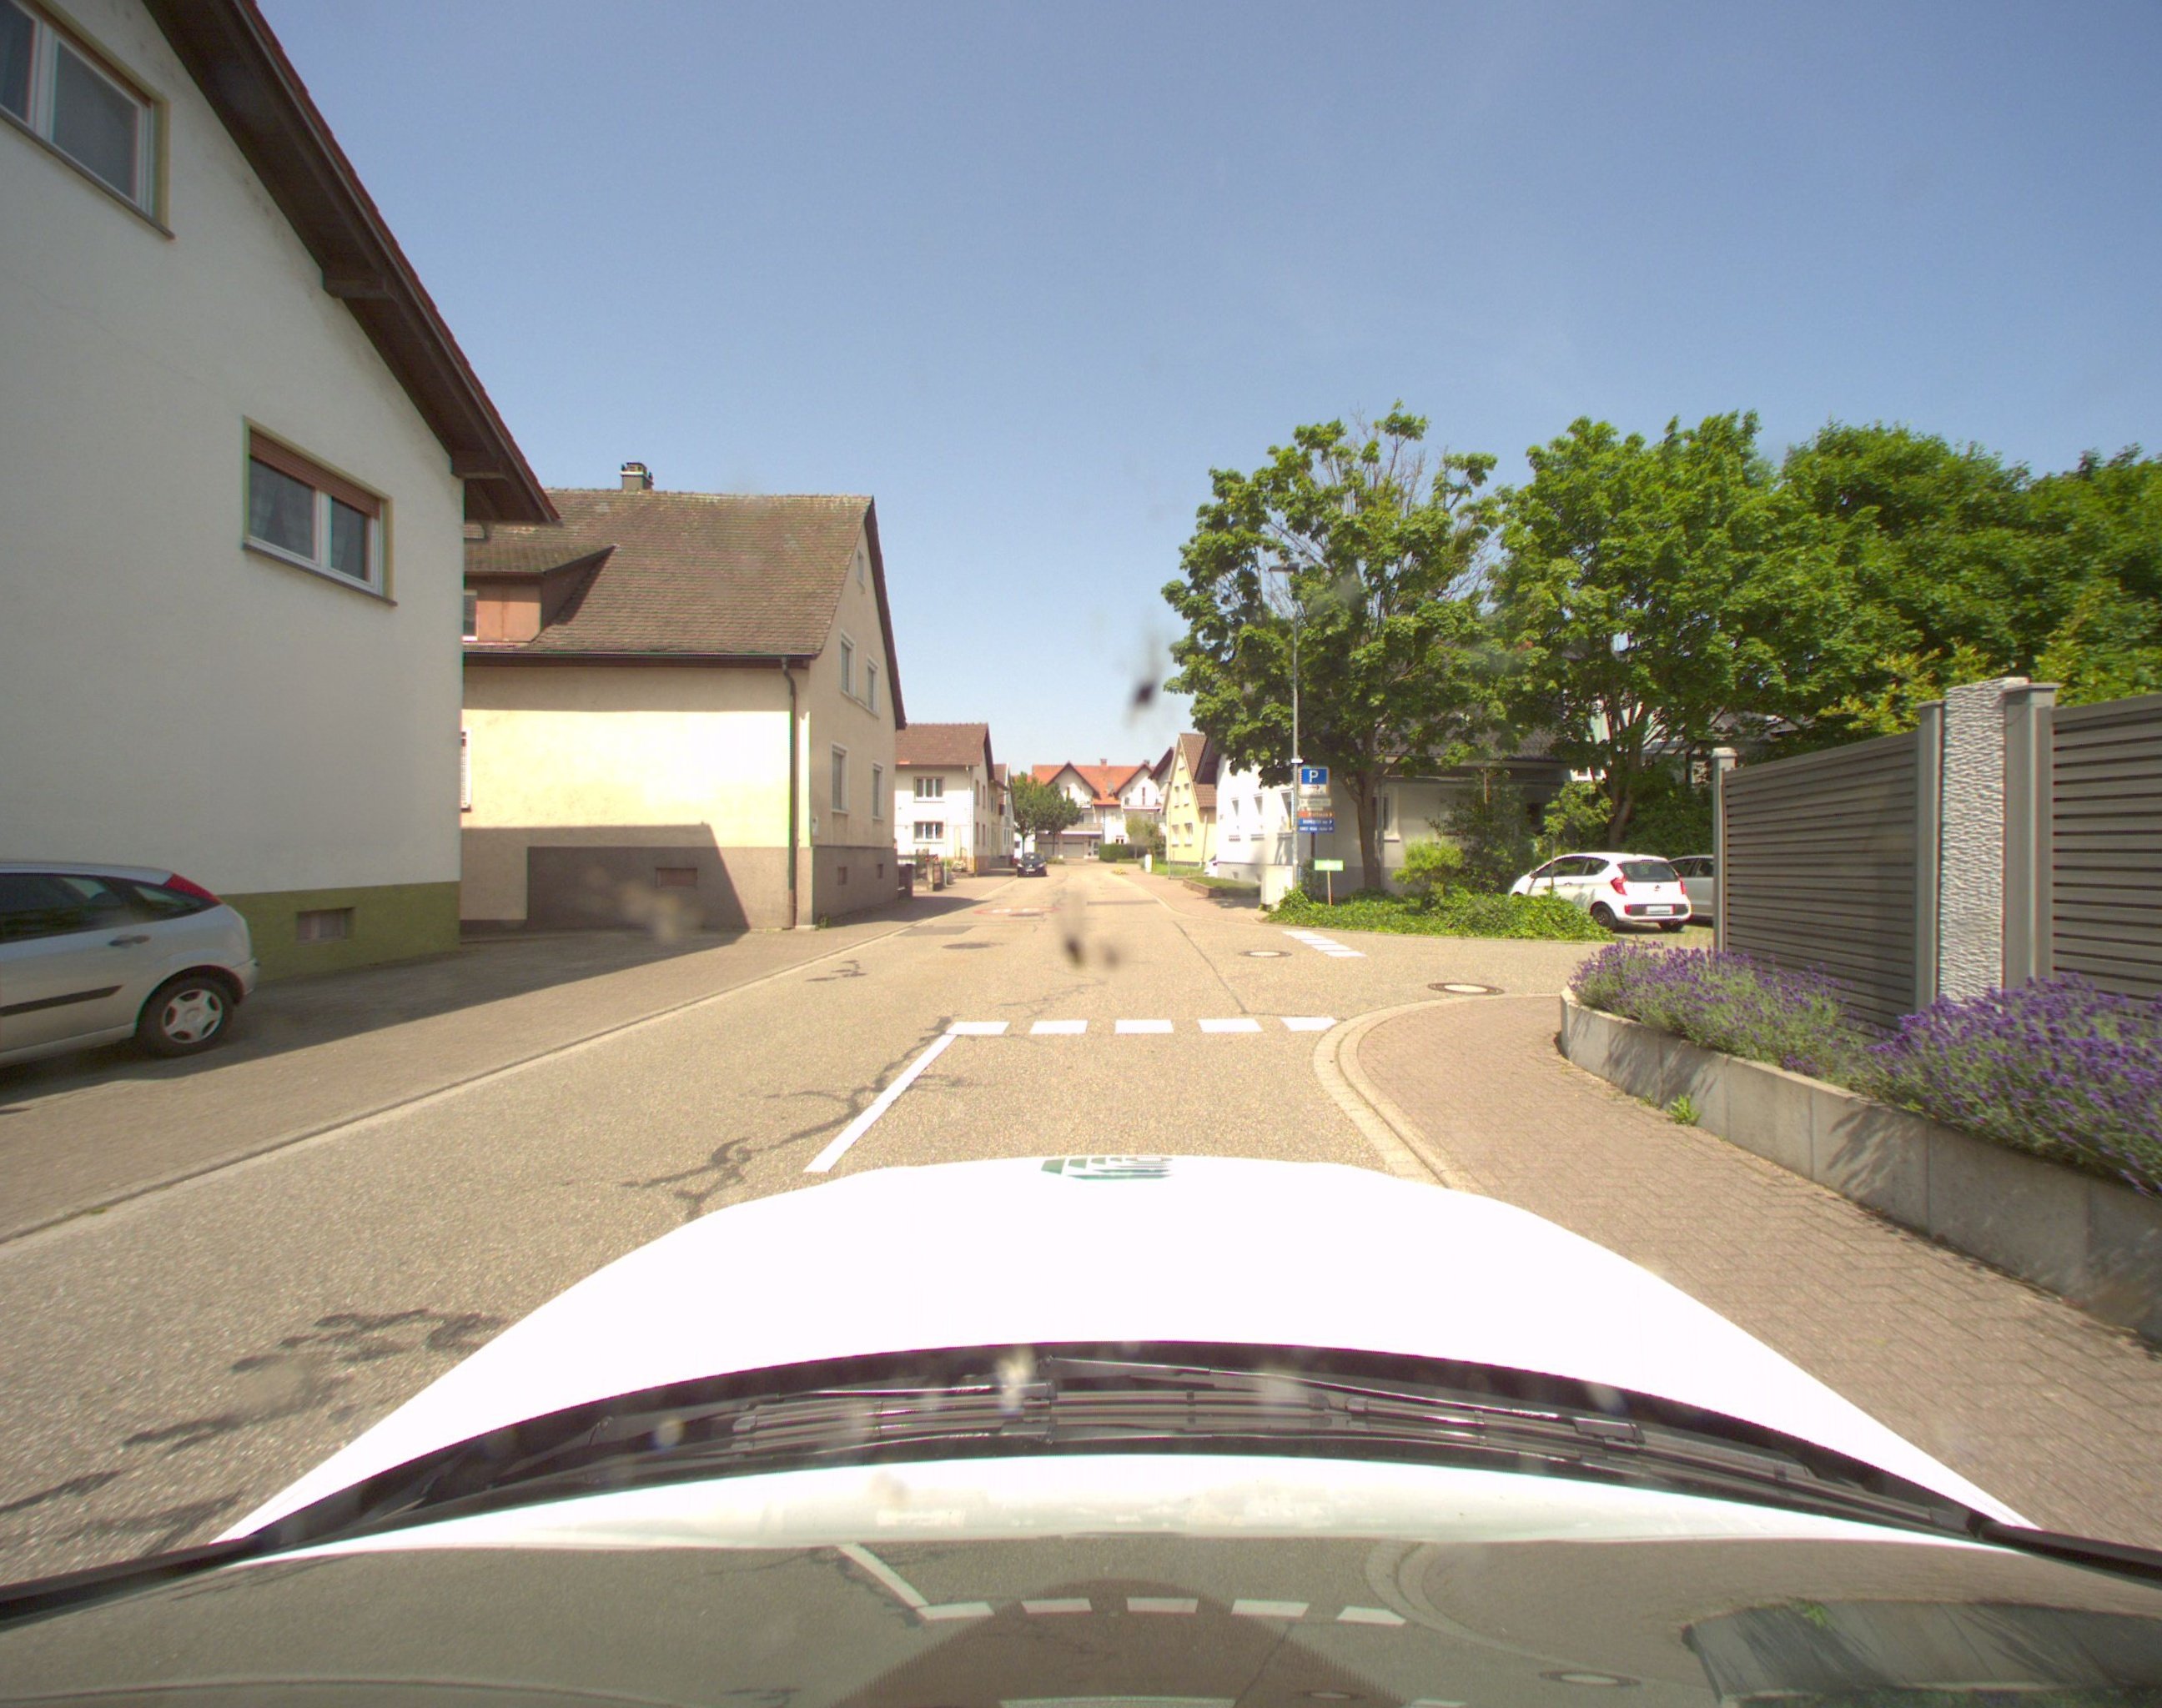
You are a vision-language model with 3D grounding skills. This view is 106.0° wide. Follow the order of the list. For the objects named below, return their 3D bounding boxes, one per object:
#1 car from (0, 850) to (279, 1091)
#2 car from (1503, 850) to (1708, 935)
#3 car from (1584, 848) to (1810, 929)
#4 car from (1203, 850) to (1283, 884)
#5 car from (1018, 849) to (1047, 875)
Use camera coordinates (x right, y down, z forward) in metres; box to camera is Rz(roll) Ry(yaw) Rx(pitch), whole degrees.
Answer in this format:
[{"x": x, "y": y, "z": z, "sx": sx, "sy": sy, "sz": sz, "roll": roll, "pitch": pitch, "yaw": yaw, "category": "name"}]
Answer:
[{"x": -7.437, "y": 0.719, "z": 4.588, "sx": 1.772, "sy": 1.434, "sz": 4.056, "roll": 0, "pitch": 1, "yaw": 1, "category": "car"}, {"x": 10.390, "y": 0.677, "z": 16.456, "sx": 1.590, "sy": 1.445, "sz": 3.559, "roll": 0, "pitch": 1, "yaw": -7, "category": "car"}, {"x": 12.868, "y": 0.634, "z": 17.340, "sx": 1.591, "sy": 1.473, "sz": 3.854, "roll": 0, "pitch": 1, "yaw": -8, "category": "car"}, {"x": 6.826, "y": 0.535, "z": 34.393, "sx": 3.040, "sy": 1.345, "sz": 1.419, "roll": -1, "pitch": -1, "yaw": -8, "category": "car"}, {"x": -2.923, "y": 0.468, "z": 49.758, "sx": 1.622, "sy": 1.486, "sz": 3.997, "roll": -1, "pitch": 0, "yaw": -2, "category": "car"}]
